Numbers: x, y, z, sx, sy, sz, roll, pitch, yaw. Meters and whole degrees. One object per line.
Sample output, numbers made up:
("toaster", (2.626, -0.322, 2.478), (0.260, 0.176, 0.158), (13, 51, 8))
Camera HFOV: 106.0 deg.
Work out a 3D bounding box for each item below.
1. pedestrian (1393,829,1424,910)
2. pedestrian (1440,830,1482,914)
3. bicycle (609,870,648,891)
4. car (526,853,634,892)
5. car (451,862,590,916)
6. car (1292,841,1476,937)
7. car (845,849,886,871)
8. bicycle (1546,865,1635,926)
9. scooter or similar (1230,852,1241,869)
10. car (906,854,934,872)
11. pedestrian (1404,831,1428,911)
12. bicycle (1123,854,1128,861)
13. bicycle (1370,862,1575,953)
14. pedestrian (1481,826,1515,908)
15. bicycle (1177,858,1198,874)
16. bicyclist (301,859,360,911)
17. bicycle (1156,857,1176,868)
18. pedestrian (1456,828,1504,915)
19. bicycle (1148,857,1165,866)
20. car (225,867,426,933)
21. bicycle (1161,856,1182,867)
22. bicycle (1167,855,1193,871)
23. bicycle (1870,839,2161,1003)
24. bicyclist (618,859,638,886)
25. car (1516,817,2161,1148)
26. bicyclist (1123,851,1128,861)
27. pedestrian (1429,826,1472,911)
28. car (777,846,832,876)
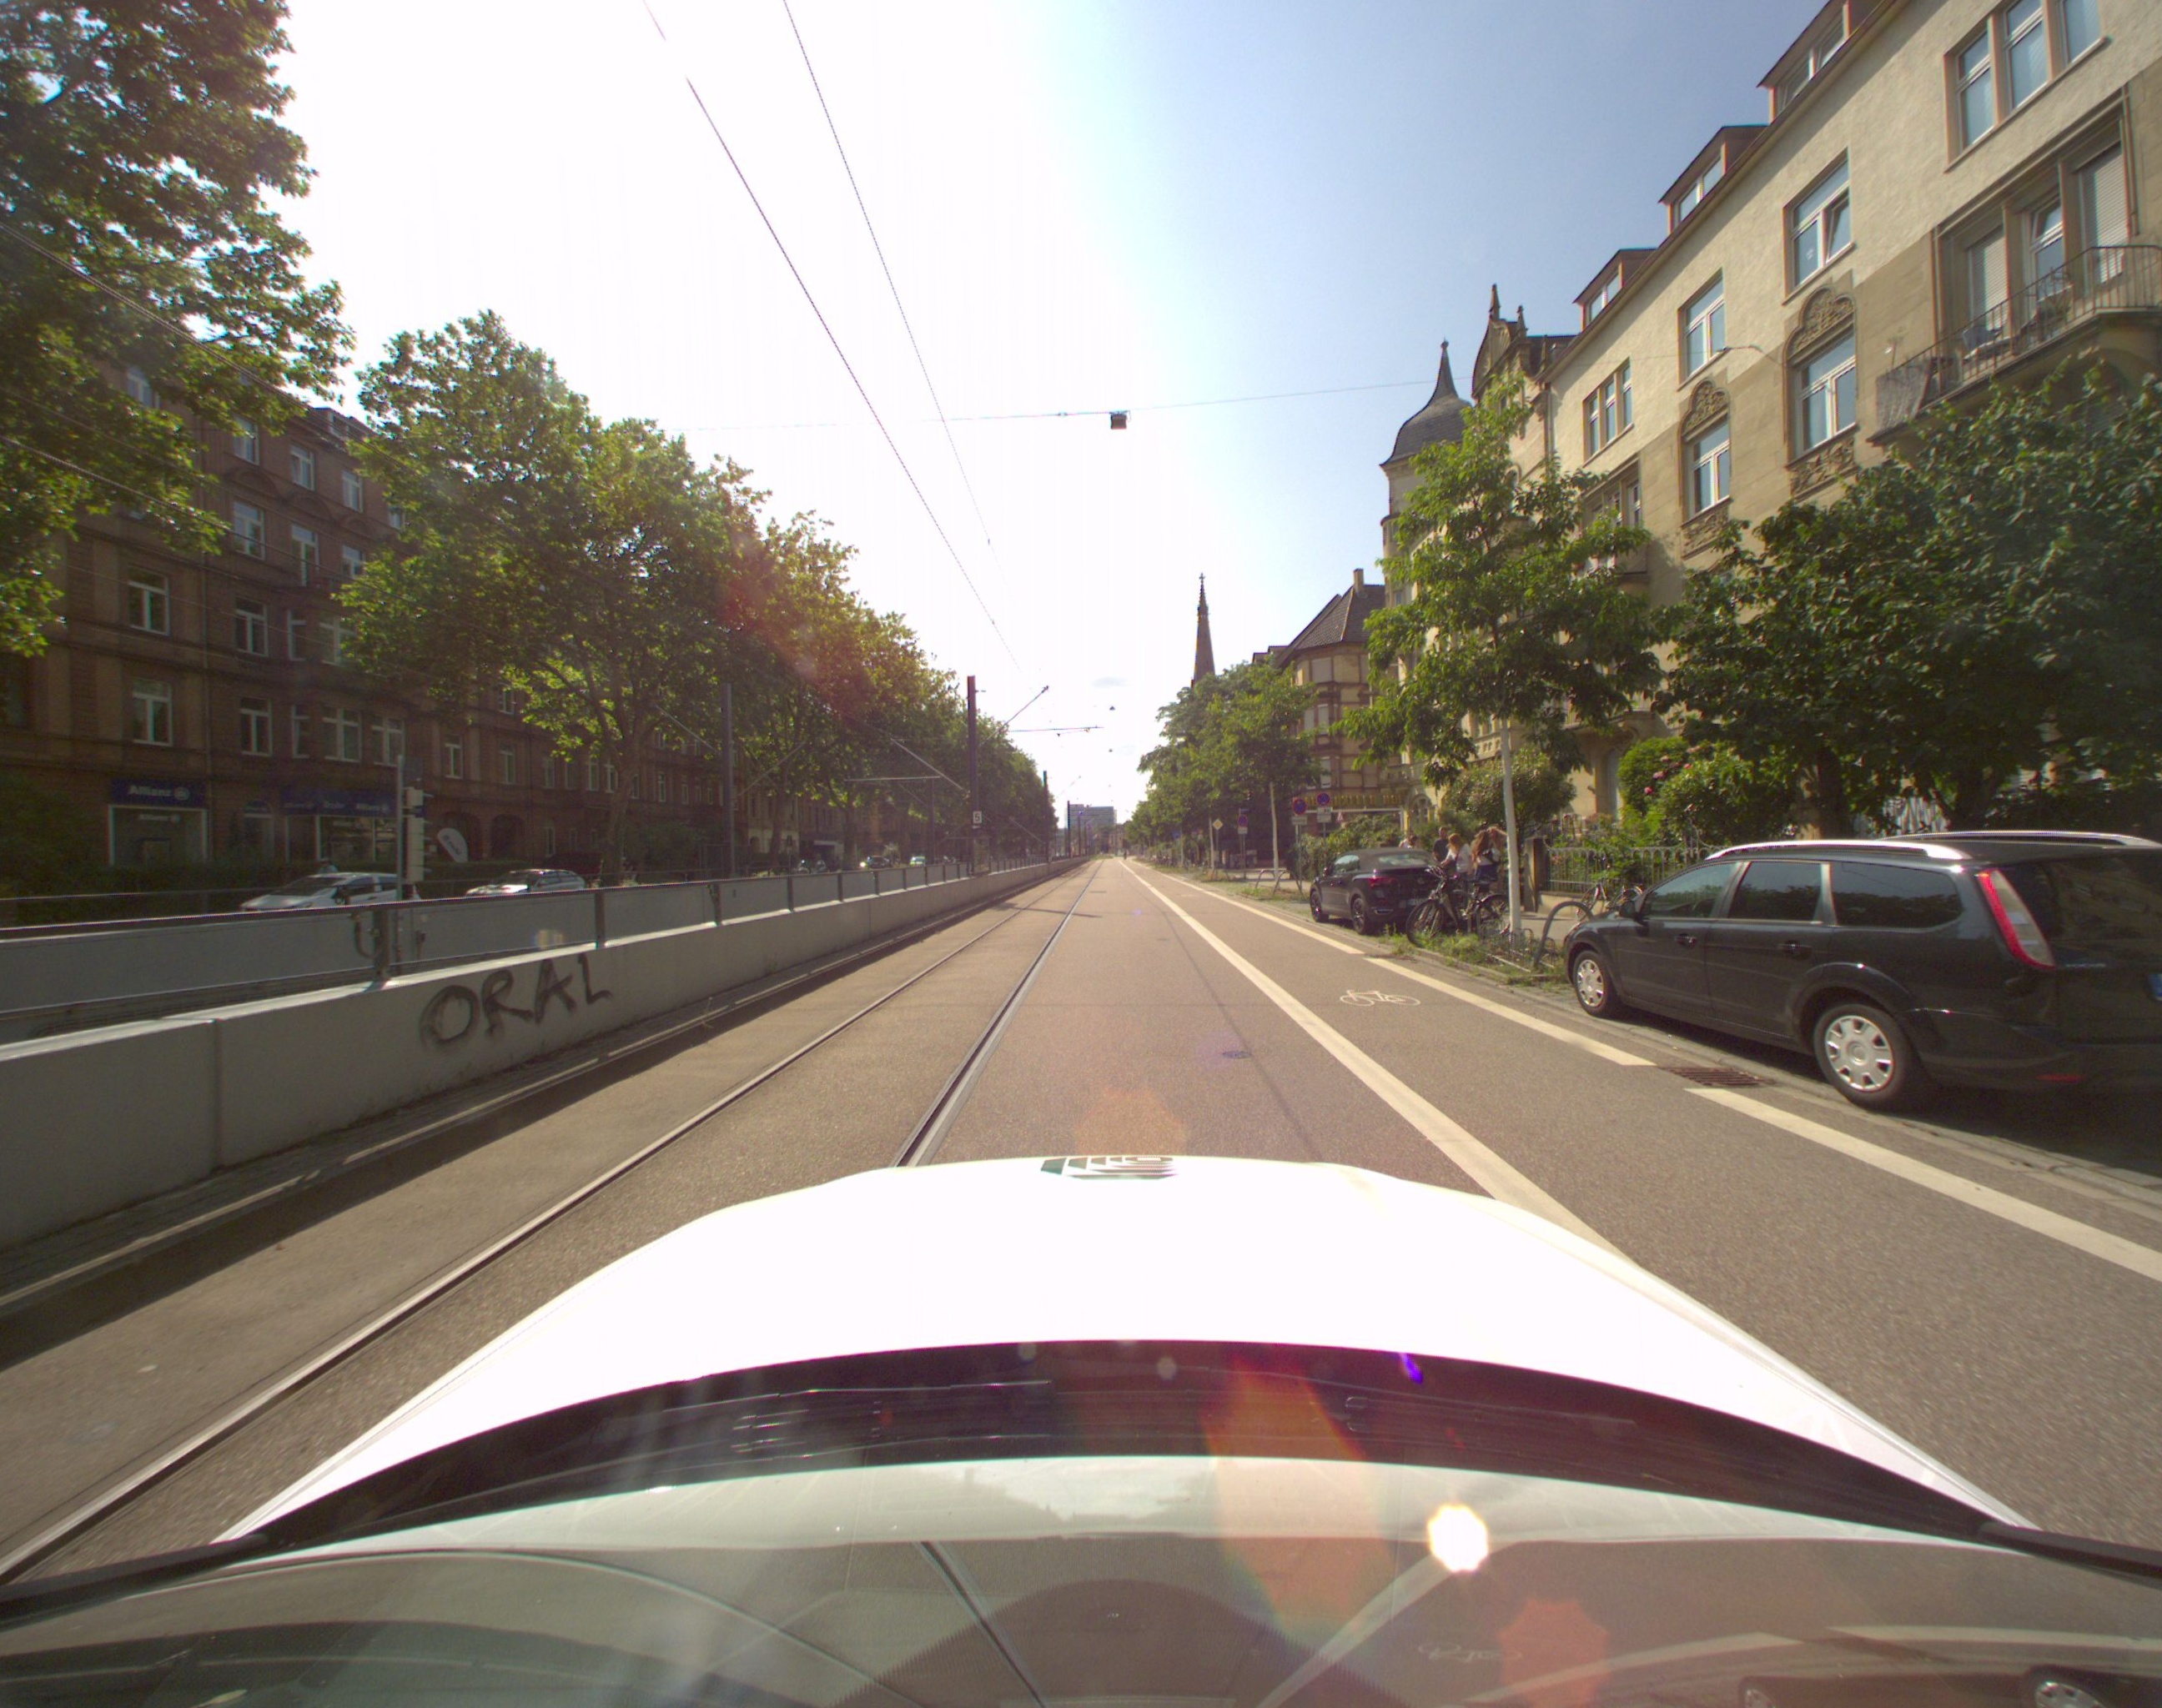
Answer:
("pedestrian", (7.470, 0.356, 18.593), (0.457, 1.804, 0.319), (-4, 0, 0))
("pedestrian", (7.991, 0.374, 17.149), (0.502, 1.706, 0.493), (-4, 0, -17))
("bicycle", (-21.374, 1.230, 38.492), (0.533, 0.913, 2.150), (-1, 0, 2))
("car", (-26.264, 0.962, 42.830), (4.387, 1.918, 2.000), (-1, 0, 0))
("car", (-18.215, 1.080, 26.714), (1.637, 1.482, 4.003), (-4, 0, 1))
("car", (5.731, 0.594, 16.078), (1.793, 1.526, 4.486), (-3, 0, -2))
("car", (-17.678, 0.458, 67.031), (1.985, 1.636, 4.005), (-4, 0, 4))
("bicycle", (8.936, 0.698, 14.368), (0.426, 0.940, 1.808), (-4, 0, 2))
("scooter or similar", (11.037, 0.468, 58.237), (0.459, 1.158, 1.574), (-3, 0, 3))
("car", (-16.806, 0.924, 85.211), (1.832, 1.727, 4.002), (-4, 0, 2))
("pedestrian", (7.264, 0.363, 17.657), (0.316, 1.706, 0.462), (-4, 0, 16))
("bicycle", (7.855, 0.616, 144.100), (0.796, 1.237, 2.779), (-1, 0, 3))
("bicycle", (6.016, 0.780, 12.549), (2.947, 1.246, 0.790), (-1, 0, -11))
("pedestrian", (8.880, 0.277, 17.355), (0.382, 1.706, 0.431), (-4, 0, 1))
("bicycle", (7.465, 0.822, 57.016), (0.651, 1.039, 1.810), (-4, 0, -19))
("bicyclist", (-21.676, 0.881, 23.551), (0.686, 1.455, 1.045), (-1, 0, 2))
("bicycle", (8.301, 0.817, 79.764), (1.811, 0.902, 0.603), (-4, 0, -2))
("pedestrian", (7.978, 0.352, 16.303), (0.530, 1.676, 0.571), (-4, 0, -17))
("bicycle", (8.395, 0.868, 91.034), (1.811, 0.902, 0.603), (-4, 0, -2))
("car", (-18.459, 1.068, 20.122), (1.490, 1.303, 3.495), (-4, 0, 4))
("bicycle", (8.296, 0.698, 74.825), (1.811, 0.902, 0.651), (-4, 0, -2))
("bicycle", (7.549, 0.674, 62.193), (1.816, 1.145, 0.649), (-4, 0, -10))
("bicycle", (8.763, 0.521, 7.237), (0.655, 1.248, 2.944), (-4, 0, 2))
("bicyclist", (-21.380, 0.858, 38.453), (0.533, 1.232, 0.724), (-1, 0, 2))
("car", (5.259, 0.575, 6.063), (1.679, 1.502, 4.711), (-1, 0, 3))
("bicyclist", (7.842, 0.286, 144.051), (0.767, 1.730, 1.027), (-1, 0, 2))
("pedestrian", (8.141, 0.321, 17.948), (0.667, 1.804, 0.319), (-4, 0, 0))
("car", (-17.557, 0.433, 51.922), (1.708, 1.691, 3.739), (-3, 1, 8))
